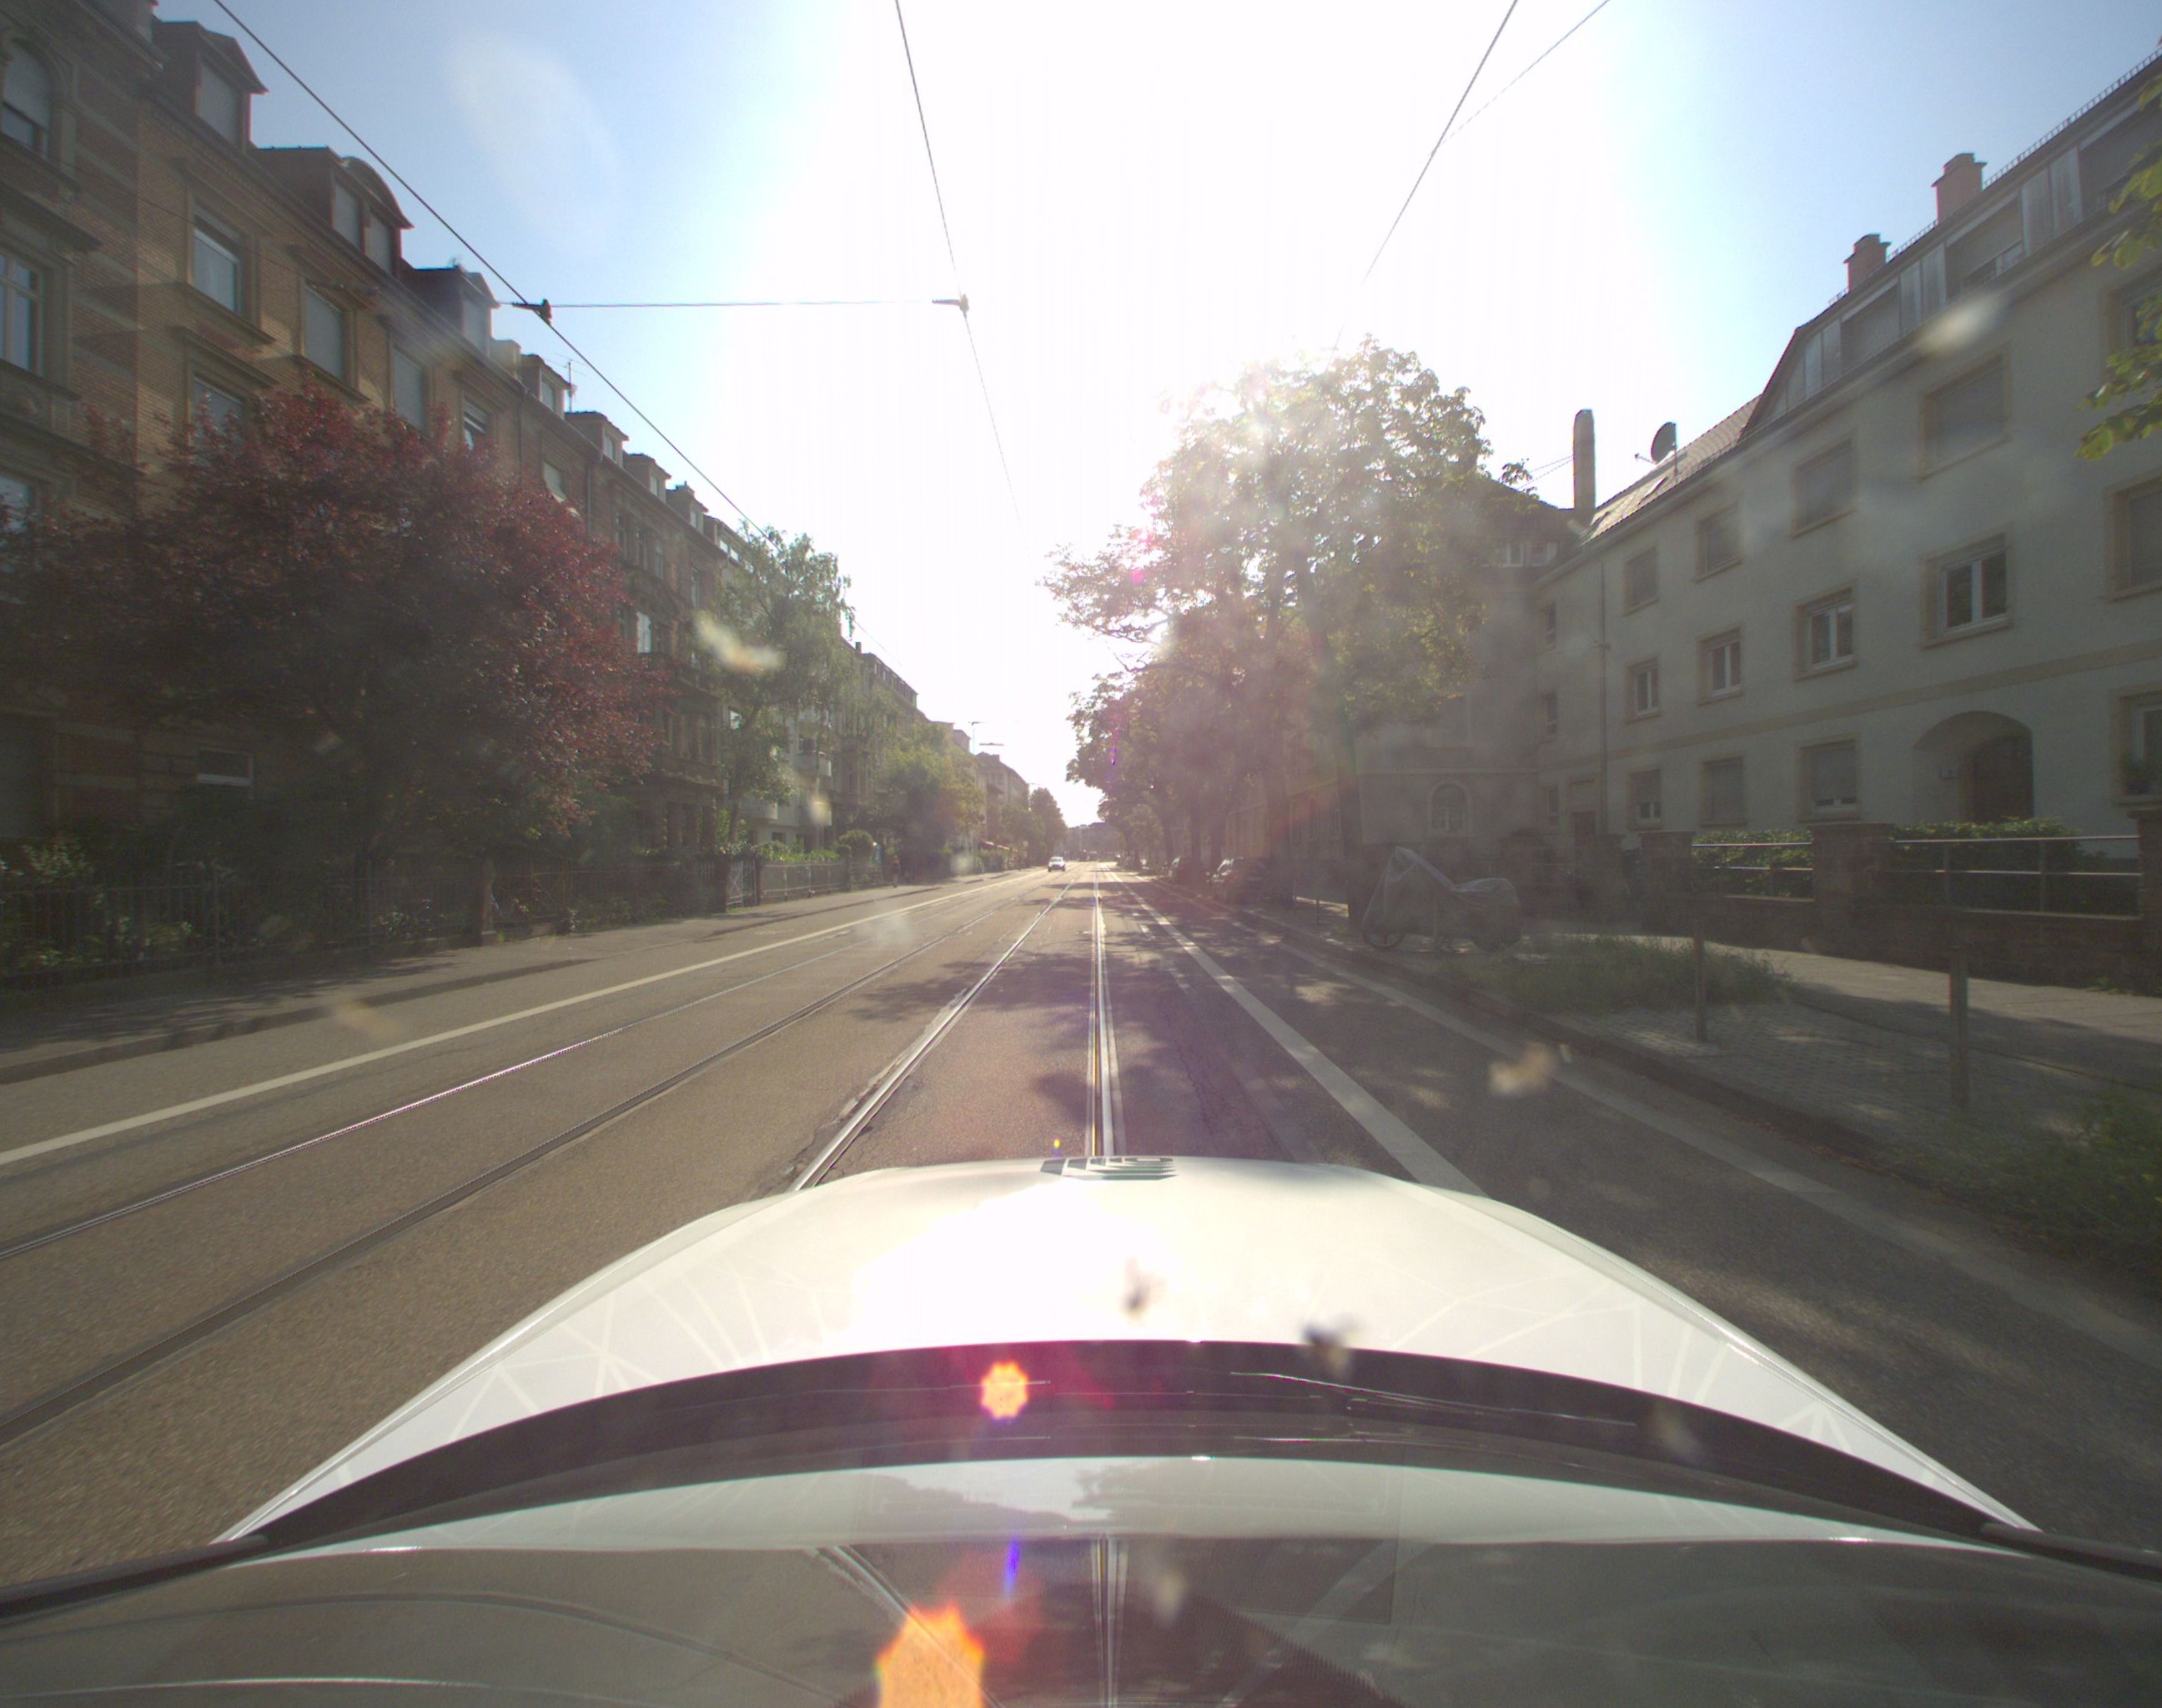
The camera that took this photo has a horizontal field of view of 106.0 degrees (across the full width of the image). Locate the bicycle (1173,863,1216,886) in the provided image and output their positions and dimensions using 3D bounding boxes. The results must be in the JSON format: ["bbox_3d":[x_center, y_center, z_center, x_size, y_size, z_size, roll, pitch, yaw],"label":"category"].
[{"bbox_3d":[5.692,1.021,40.873,2.104,1.105,0.562,-1,0,-7],"label":"bicycle"}]

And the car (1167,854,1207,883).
[{"bbox_3d":[5.748,0.801,44.532,1.765,1.473,3.975,-2,-1,1],"label":"car"}]

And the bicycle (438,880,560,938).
[{"bbox_3d":[-11.852,1.104,16.618,2.010,1.104,0.588,-1,0,-3],"label":"bicycle"}]

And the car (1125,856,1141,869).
[{"bbox_3d":[6.468,1.074,101.881,1.765,1.473,3.975,-2,-1,1],"label":"car"}]

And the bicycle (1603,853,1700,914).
[{"bbox_3d":[11.080,0.547,15.900,0.423,1.104,1.999,-1,0,-1],"label":"bicycle"}]

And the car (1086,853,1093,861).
[{"bbox_3d":[2.522,0.881,239.037,1.985,2.013,4.004,1,0,4],"label":"car"}]

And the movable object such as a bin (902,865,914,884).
[{"bbox_3d":[-10.409,1.225,49.026,0.630,1.078,0.703,-1,0,-6],"label":"movable object such as a bin"}]

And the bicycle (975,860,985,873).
[{"bbox_3d":[-9.355,1.148,75.689,0.559,1.221,2.115,-1,0,3],"label":"bicycle"}]

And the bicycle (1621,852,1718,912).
[{"bbox_3d":[11.508,0.508,16.011,0.423,1.104,1.999,-1,0,-1],"label":"bicycle"}]

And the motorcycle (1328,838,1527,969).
[{"bbox_3d":[4.901,0.669,11.678,0.919,1.674,2.390,-3,0,-45],"label":"motorcycle"}]

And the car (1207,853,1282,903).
[{"bbox_3d":[5.435,0.767,27.506,1.721,1.504,3.985,-2,-1,1],"label":"car"}]

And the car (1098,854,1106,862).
[{"bbox_3d":[5.784,1.024,220.545,1.985,2.013,4.004,1,0,4],"label":"car"}]

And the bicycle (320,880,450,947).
[{"bbox_3d":[-12.897,1.074,15.127,0.581,1.104,1.770,-1,-1,42],"label":"bicycle"}]

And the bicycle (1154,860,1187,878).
[{"bbox_3d":[6.039,0.988,55.008,2.100,1.105,0.616,-2,0,-1],"label":"bicycle"}]

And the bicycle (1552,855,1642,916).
[{"bbox_3d":[10.012,0.581,15.887,0.422,1.104,1.999,-1,0,-1],"label":"bicycle"}]

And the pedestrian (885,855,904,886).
[{"bbox_3d":[-9.677,0.853,42.318,0.749,1.591,0.878,-1,0,1],"label":"pedestrian"}]

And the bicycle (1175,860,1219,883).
[{"bbox_3d":[5.737,0.844,40.350,2.104,1.105,0.562,-1,0,-7],"label":"bicycle"}]

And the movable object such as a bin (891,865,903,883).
[{"bbox_3d":[-11.078,1.216,48.957,0.589,1.078,0.703,-1,0,-6],"label":"movable object such as a bin"}]

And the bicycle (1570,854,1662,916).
[{"bbox_3d":[10.368,0.566,15.863,0.423,1.104,1.999,-1,0,-1],"label":"bicycle"}]

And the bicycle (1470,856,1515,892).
[{"bbox_3d":[13.184,0.623,26.124,0.536,1.104,1.874,-1,0,1],"label":"bicycle"}]

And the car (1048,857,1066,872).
[{"bbox_3d":[-2.632,1.110,88.805,1.721,1.638,3.985,-1,0,1],"label":"car"}]

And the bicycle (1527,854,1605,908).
[{"bbox_3d":[10.565,0.558,17.820,0.536,1.104,1.872,-1,0,-1],"label":"bicycle"}]

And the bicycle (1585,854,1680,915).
[{"bbox_3d":[10.668,0.557,15.836,0.423,1.104,1.999,-1,0,-1],"label":"bicycle"}]
